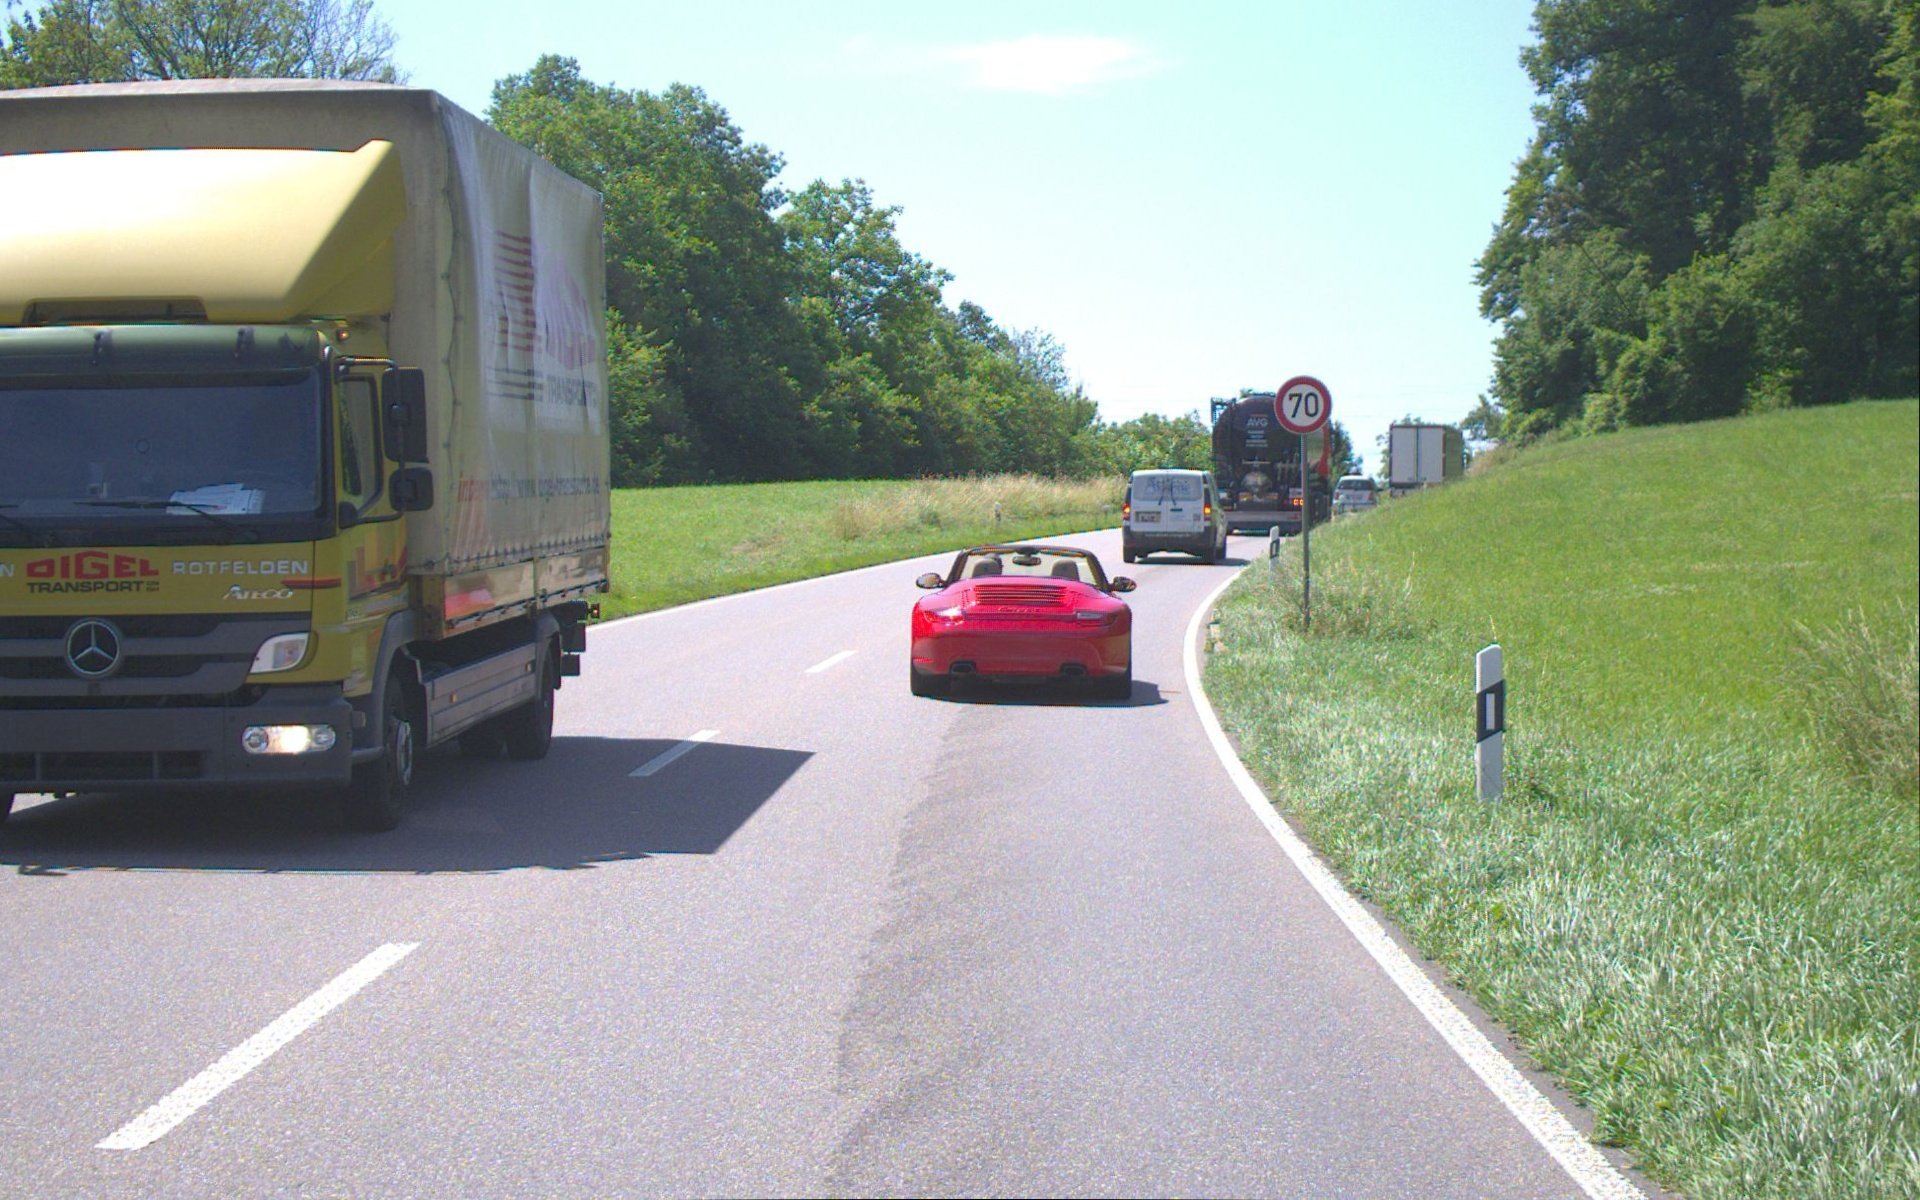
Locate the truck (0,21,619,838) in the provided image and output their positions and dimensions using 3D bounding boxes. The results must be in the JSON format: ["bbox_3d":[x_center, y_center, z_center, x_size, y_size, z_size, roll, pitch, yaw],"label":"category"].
[{"bbox_3d":[-3.836,-0.857,19.786,2.730,3.678,8.546,0,1,1],"label":"truck"}]

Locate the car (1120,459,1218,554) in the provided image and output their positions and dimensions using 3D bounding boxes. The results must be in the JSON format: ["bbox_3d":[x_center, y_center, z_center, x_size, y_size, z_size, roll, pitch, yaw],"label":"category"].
[{"bbox_3d":[4.344,-1.950,71.067,1.679,1.894,4.008,0,2,8],"label":"car"}]

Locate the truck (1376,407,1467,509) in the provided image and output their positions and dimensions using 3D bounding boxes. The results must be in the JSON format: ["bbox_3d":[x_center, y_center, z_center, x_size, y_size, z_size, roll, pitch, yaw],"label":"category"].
[{"bbox_3d":[22.268,-6.811,165.337,3.727,4.644,12.026,0,2,10],"label":"truck"}]

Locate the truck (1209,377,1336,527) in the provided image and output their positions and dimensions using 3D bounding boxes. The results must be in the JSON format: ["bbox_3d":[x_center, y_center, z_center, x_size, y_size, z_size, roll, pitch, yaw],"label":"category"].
[{"bbox_3d":[9.114,-4.238,98.978,2.405,4.035,12.545,0,2,11],"label":"truck"}]

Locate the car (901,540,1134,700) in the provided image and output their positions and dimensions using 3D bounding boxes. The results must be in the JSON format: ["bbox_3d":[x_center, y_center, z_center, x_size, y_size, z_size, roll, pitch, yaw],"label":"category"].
[{"bbox_3d":[0.479,0.129,29.785,1.882,1.250,4.010,0,2,1],"label":"car"}]

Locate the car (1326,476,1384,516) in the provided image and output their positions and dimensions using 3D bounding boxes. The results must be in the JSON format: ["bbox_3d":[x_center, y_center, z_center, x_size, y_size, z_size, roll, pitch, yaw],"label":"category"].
[{"bbox_3d":[15.252,-4.033,132.727,1.832,1.508,4.189,0,2,12],"label":"car"}]
